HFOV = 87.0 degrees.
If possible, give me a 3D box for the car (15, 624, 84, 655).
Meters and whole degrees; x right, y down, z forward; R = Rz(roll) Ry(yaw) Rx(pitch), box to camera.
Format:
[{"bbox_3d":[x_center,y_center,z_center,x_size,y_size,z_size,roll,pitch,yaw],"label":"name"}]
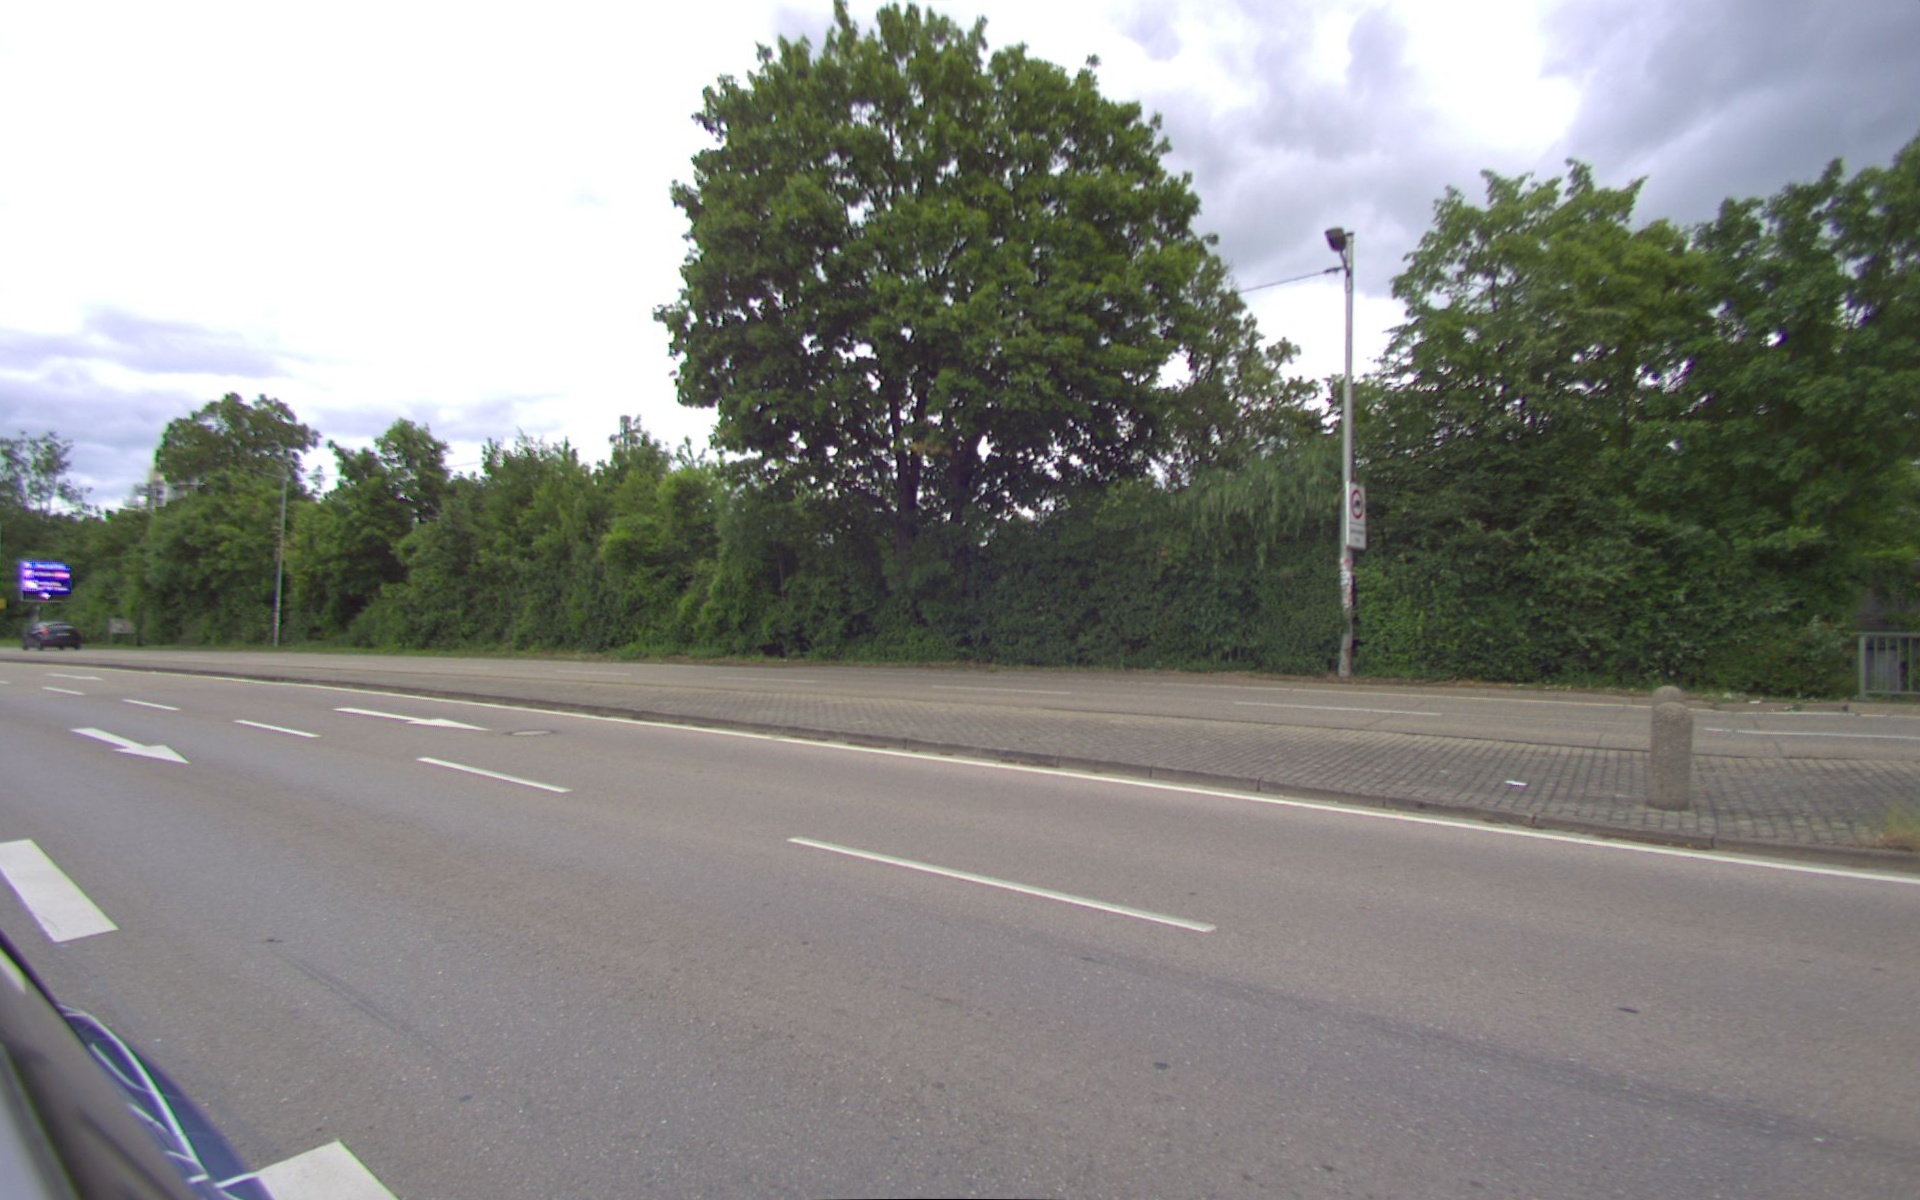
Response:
[{"bbox_3d":[-46.819,2.024,52.026,3.989,1.475,1.685,-1,0,34],"label":"car"}]
